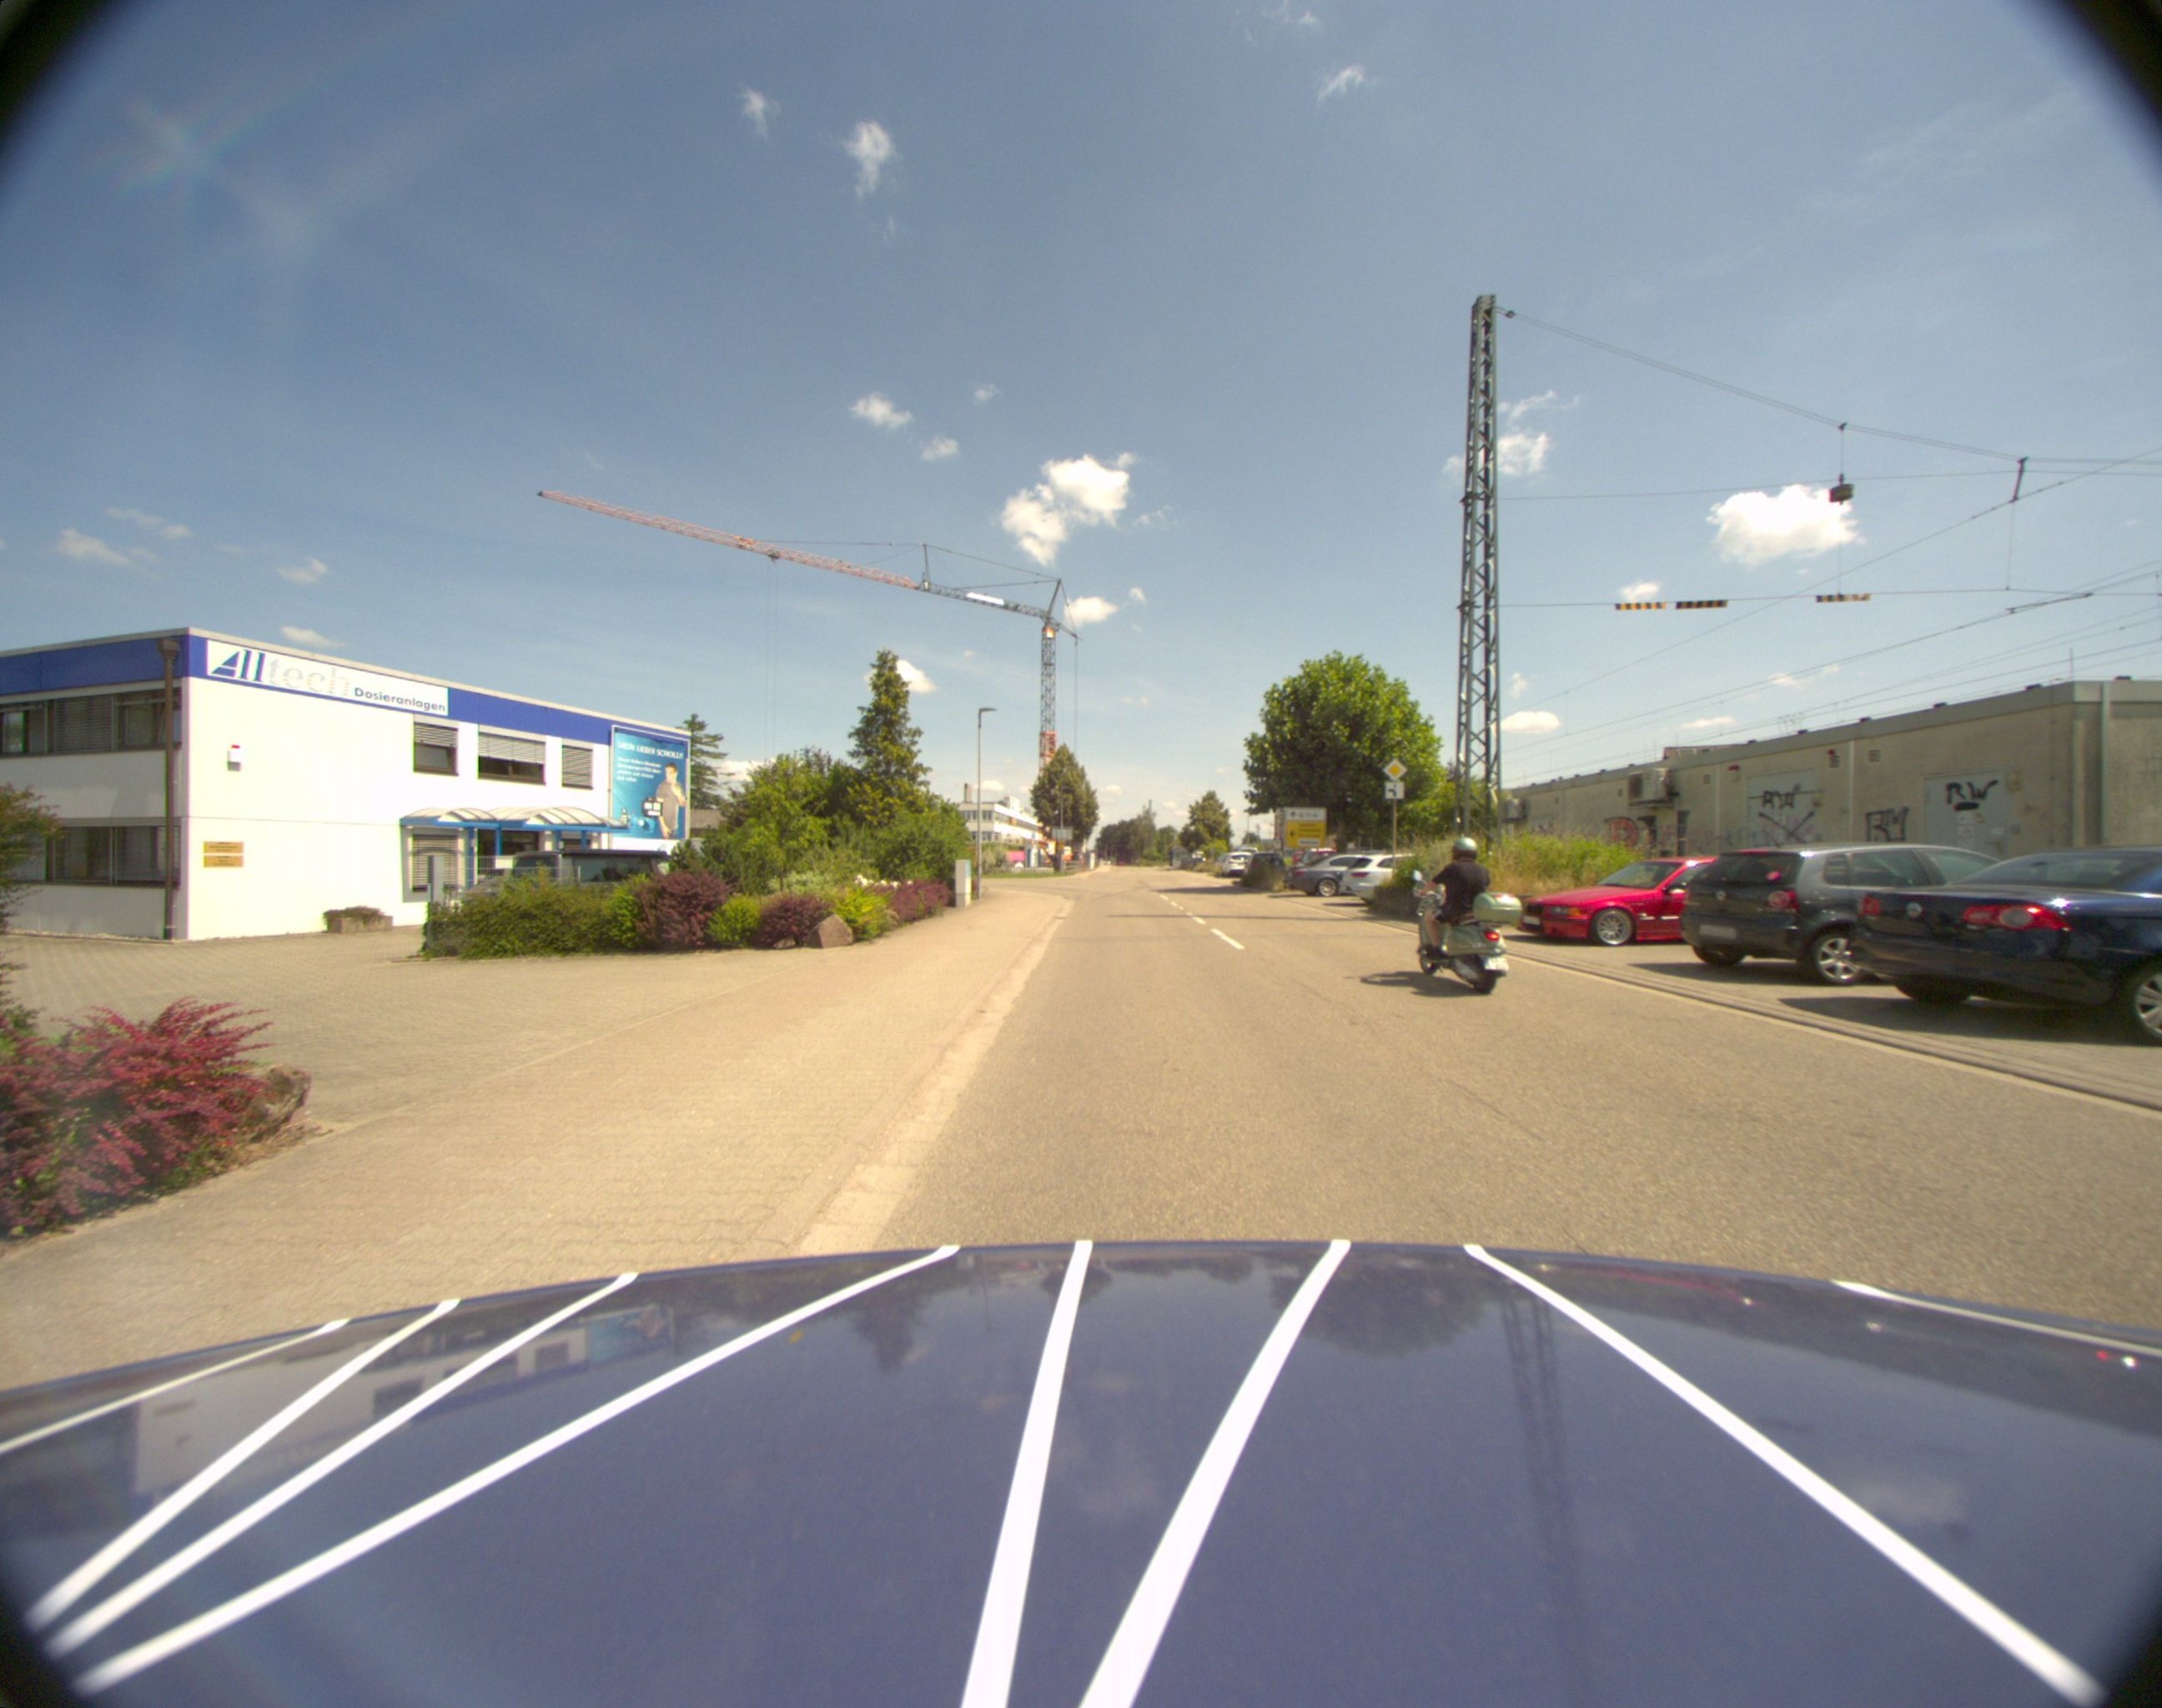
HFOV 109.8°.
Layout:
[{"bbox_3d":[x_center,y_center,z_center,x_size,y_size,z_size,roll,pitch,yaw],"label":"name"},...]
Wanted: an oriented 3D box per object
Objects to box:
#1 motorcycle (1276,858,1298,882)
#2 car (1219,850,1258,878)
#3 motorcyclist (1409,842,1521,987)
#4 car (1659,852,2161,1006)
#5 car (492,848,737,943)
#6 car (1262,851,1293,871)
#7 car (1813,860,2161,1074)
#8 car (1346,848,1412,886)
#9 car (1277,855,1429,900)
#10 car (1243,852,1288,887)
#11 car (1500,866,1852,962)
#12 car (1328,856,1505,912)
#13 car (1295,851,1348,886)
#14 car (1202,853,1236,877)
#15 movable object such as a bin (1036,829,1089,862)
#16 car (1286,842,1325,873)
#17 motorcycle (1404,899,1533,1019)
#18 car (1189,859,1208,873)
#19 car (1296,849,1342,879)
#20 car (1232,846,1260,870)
[{"bbox_3d":[12.084,0.932,44.663,0.739,1.365,3.215,1,0,7],"label":"motorcycle"},{"bbox_3d":[9.410,0.567,45.731,1.807,1.555,4.264,1,0,5],"label":"car"},{"bbox_3d":[4.172,0.624,8.317,0.777,1.500,0.921,0,1,2],"label":"motorcyclist"},{"bbox_3d":[8.852,0.743,8.368,3.675,1.439,1.684,-1,0,0],"label":"car"},{"bbox_3d":[-10.771,0.829,18.050,1.899,1.788,4.797,2,2,20],"label":"car"},{"bbox_3d":[16.317,0.535,63.309,1.952,1.599,4.275,1,0,8],"label":"car"},{"bbox_3d":[8.653,0.781,5.935,3.953,1.442,1.788,0,0,6],"label":"car"},{"bbox_3d":[13.728,0.583,35.211,1.997,1.627,4.089,1,0,9],"label":"car"},{"bbox_3d":[9.063,0.776,25.542,4.437,1.402,1.787,1,0,-1],"label":"car"},{"bbox_3d":[8.628,0.671,35.709,1.688,1.521,4.065,1,0,9],"label":"car"},{"bbox_3d":[9.038,0.893,11.822,4.082,1.360,1.674,-1,-1,2],"label":"car"},{"bbox_3d":[9.110,0.791,20.859,4.083,1.394,1.787,-1,0,0],"label":"car"},{"bbox_3d":[11.155,0.631,35.442,1.794,1.528,3.581,1,0,9],"label":"car"},{"bbox_3d":[9.454,0.739,52.345,1.794,1.535,3.961,1,0,4],"label":"car"},{"bbox_3d":[-2.013,-0.883,81.014,5.132,3.276,2.390,0,6,-14],"label":"movable object such as a bin"},{"bbox_3d":[15.171,0.257,51.579,1.849,2.002,4.002,1,0,7],"label":"car"},{"bbox_3d":[4.175,1.077,8.352,0.464,1.044,1.955,0,1,2],"label":"motorcycle"},{"bbox_3d":[12.263,1.205,79.317,1.607,1.341,4.001,1,0,4],"label":"car"},{"bbox_3d":[14.258,0.555,45.682,1.997,1.648,4.265,-1,1,9],"label":"car"},{"bbox_3d":[13.324,0.325,61.537,1.952,1.822,3.837,1,0,8],"label":"car"}]
